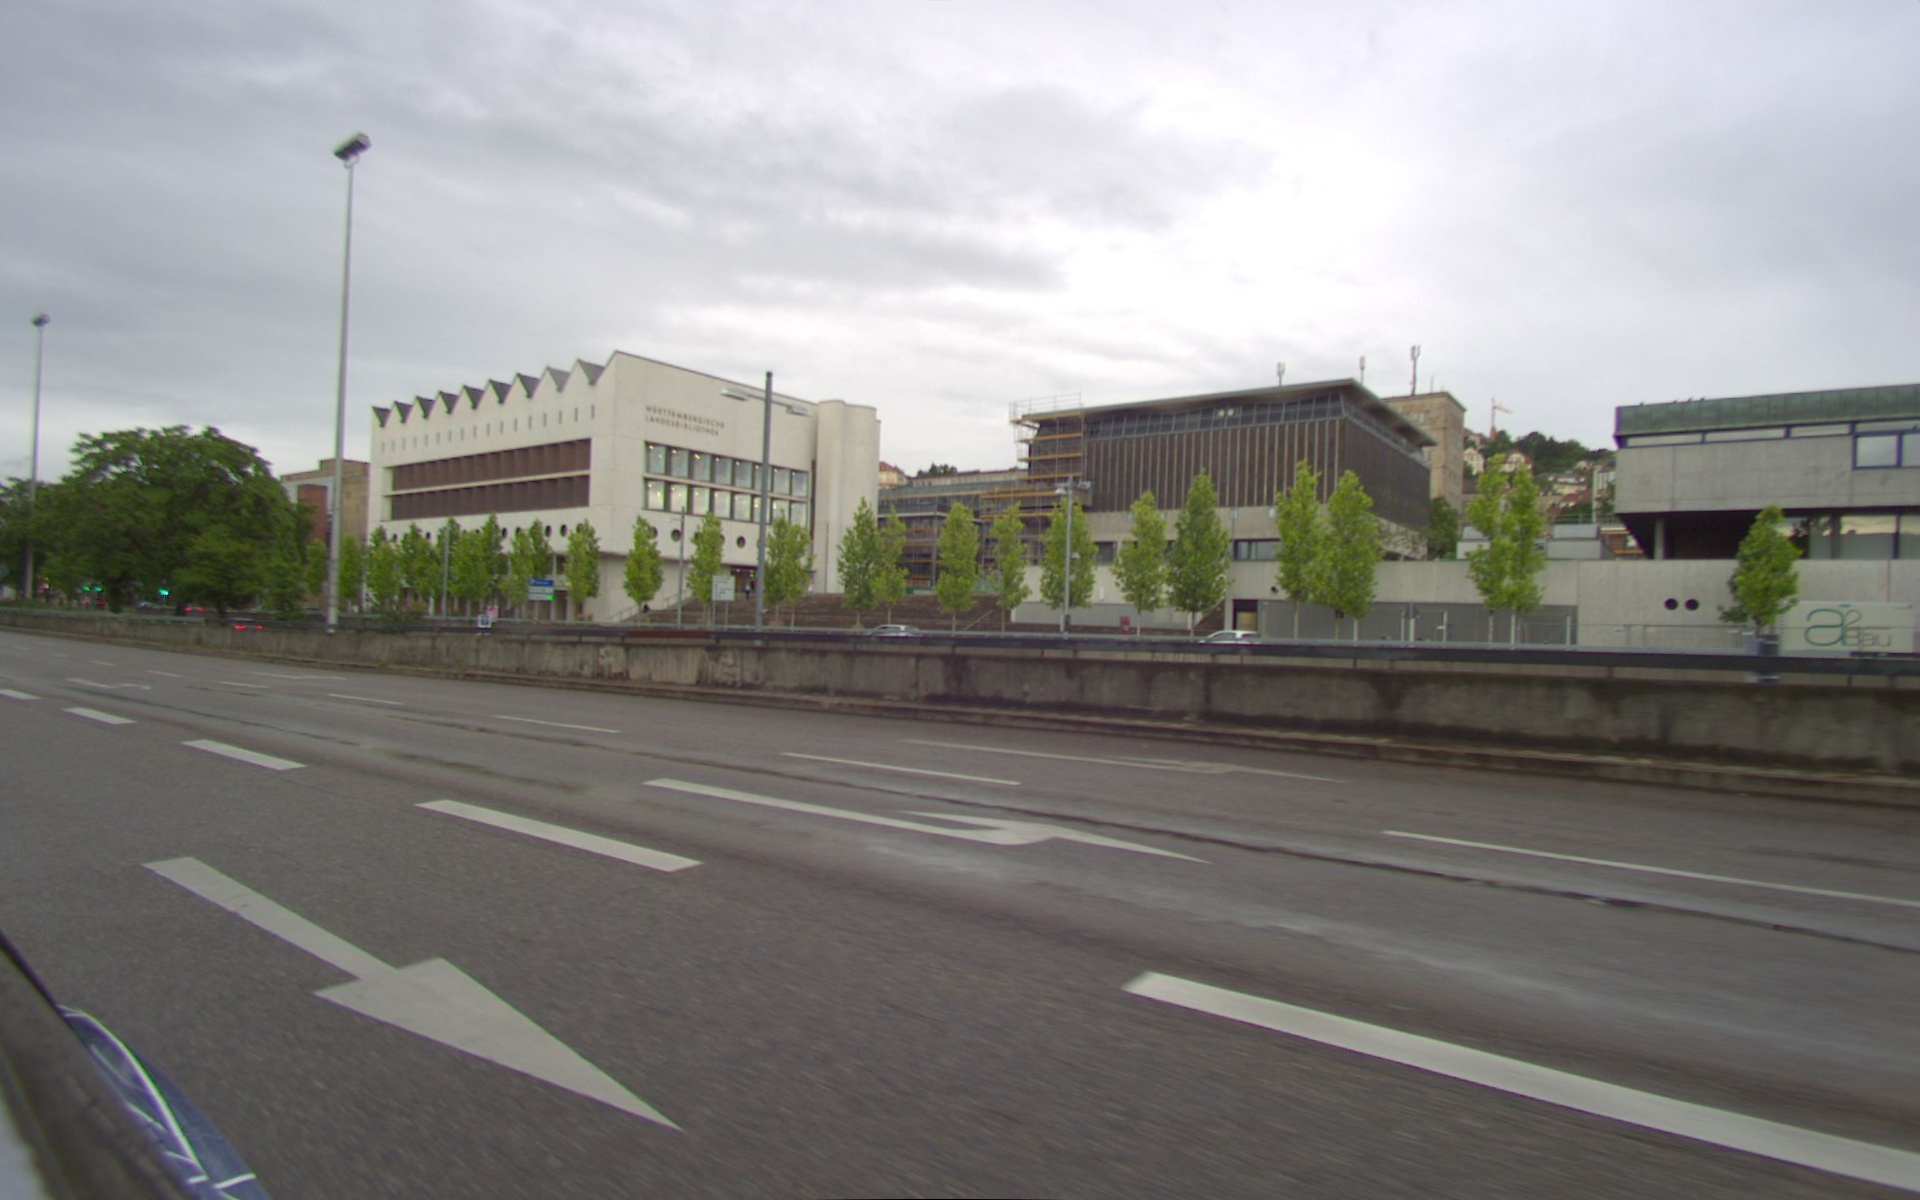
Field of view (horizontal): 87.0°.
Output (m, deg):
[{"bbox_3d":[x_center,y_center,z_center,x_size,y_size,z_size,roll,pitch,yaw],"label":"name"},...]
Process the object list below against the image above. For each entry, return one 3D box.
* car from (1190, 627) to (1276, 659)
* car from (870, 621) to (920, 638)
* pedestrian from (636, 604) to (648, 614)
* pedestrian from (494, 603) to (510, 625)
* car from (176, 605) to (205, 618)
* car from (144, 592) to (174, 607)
[{"bbox_3d":[11.033,1.704,40.972,3.016,1.122,1.426,1,0,38],"label":"car"},{"bbox_3d":[-3.303,1.497,51.328,2.548,0.751,0.812,1,0,35],"label":"car"},{"bbox_3d":[-28.969,0.788,92.173,0.628,0.894,0.798,1,0,39],"label":"pedestrian"},{"bbox_3d":[-40.207,1.255,88.813,1.071,1.880,0.831,1,0,-38],"label":"pedestrian"},{"bbox_3d":[-76.696,1.160,100.802,3.539,1.236,1.550,2,0,40],"label":"car"},{"bbox_3d":[-89.219,-0.049,112.694,3.469,1.567,1.679,1,0,36],"label":"car"}]
